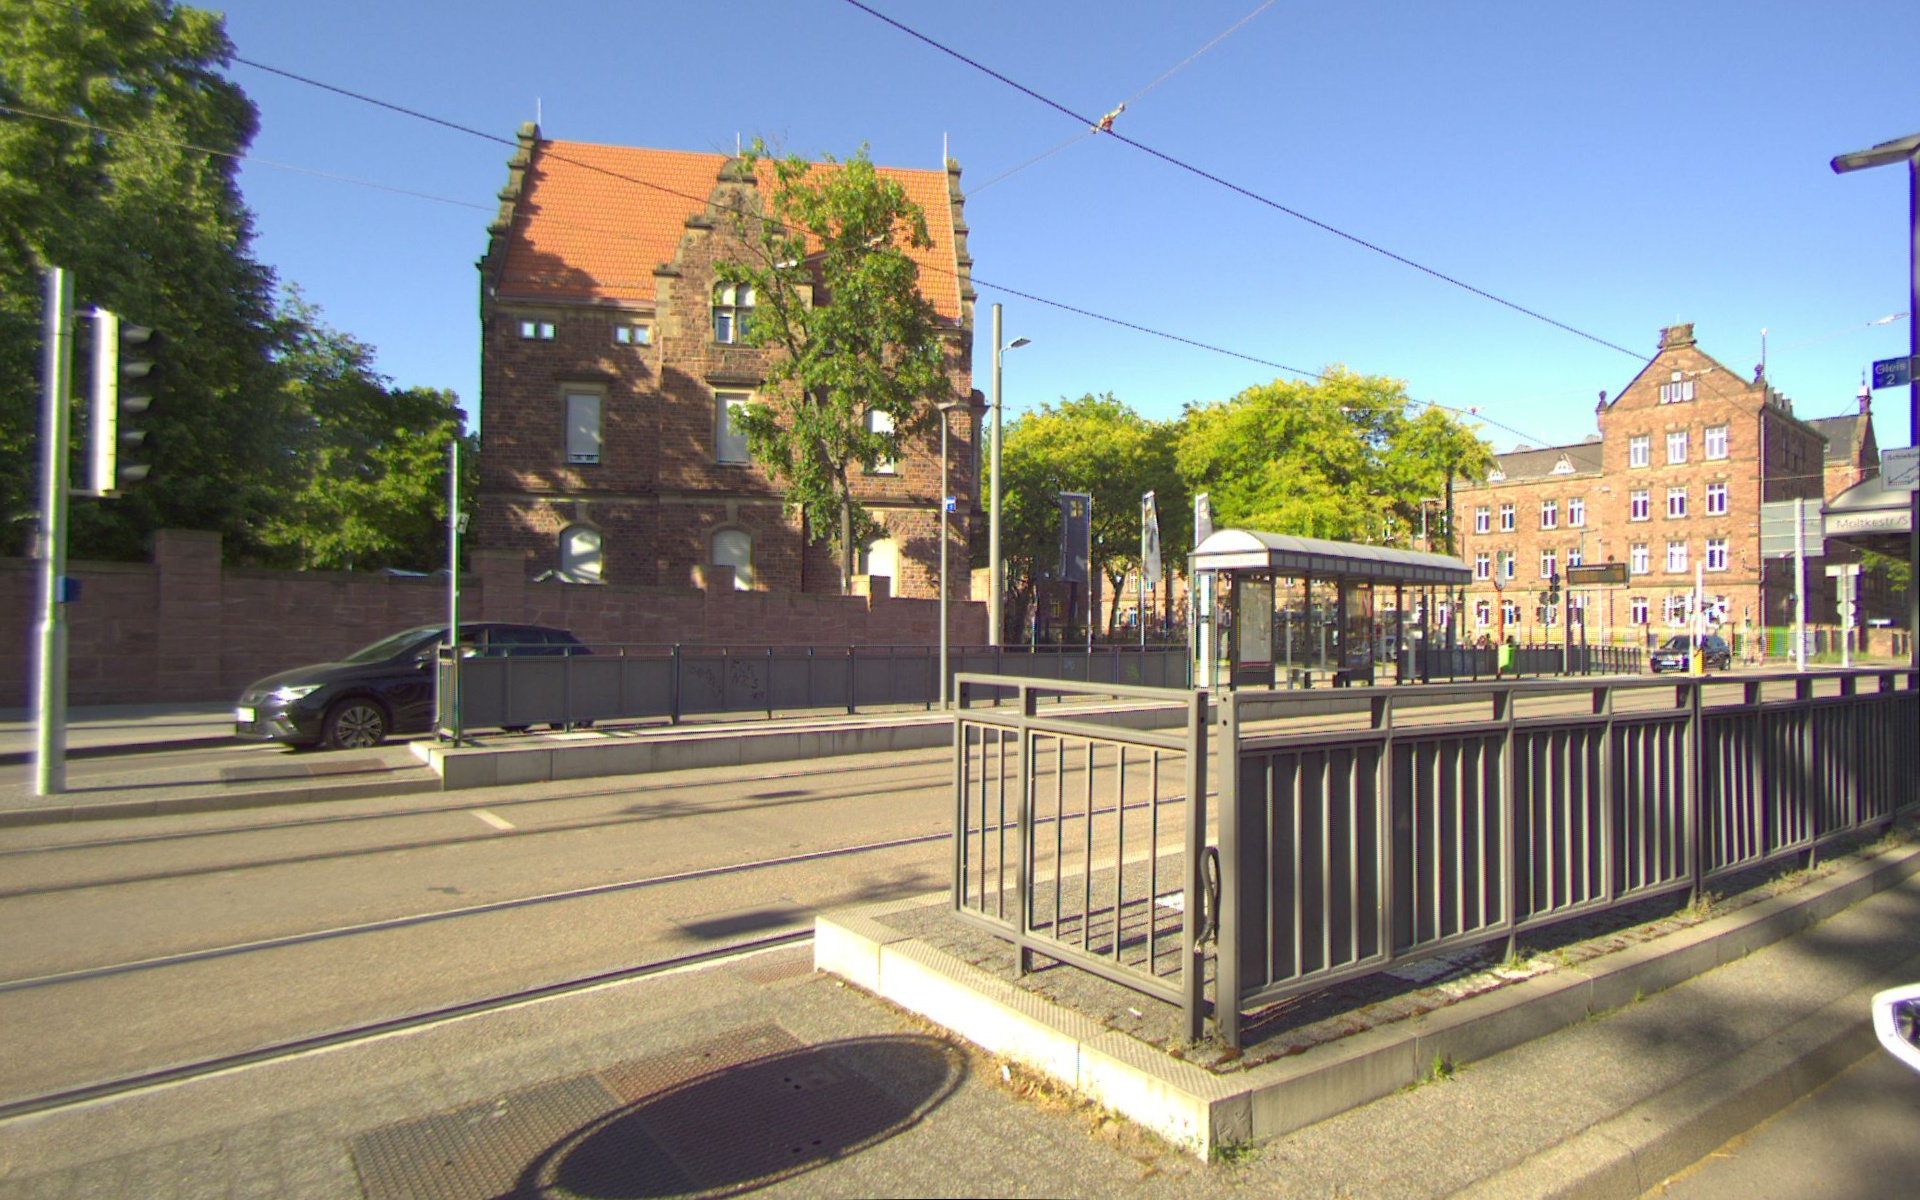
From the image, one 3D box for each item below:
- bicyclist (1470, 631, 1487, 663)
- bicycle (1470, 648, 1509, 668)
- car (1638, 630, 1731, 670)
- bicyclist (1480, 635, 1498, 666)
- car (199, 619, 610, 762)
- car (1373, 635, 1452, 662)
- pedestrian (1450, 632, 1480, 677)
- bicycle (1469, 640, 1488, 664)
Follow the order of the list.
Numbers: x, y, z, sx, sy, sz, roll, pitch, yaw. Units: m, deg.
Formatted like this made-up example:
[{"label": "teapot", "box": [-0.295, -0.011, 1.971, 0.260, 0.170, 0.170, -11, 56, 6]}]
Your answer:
[{"label": "bicyclist", "box": [23.425, 2.124, 45.386, 0.678, 1.402, 0.534, 1, -1, 26]}, {"label": "bicycle", "box": [29.125, 3.190, 55.238, 0.794, 1.027, 1.721, 2, -2, -38]}, {"label": "car", "box": [32.226, 2.195, 44.653, 4.309, 1.699, 1.897, 2, -2, -32]}, {"label": "bicyclist", "box": [29.105, 2.765, 55.286, 0.794, 1.657, 0.629, 2, -2, -39]}, {"label": "car", "box": [-6.506, 1.012, 12.077, 1.835, 1.421, 3.961, -4, -5, 42]}, {"label": "car", "box": [27.580, 2.941, 61.302, 1.859, 1.542, 4.036, 2, -2, -36]}, {"label": "pedestrian", "box": [21.556, 2.310, 42.901, 1.086, 1.885, 0.721, 2, -2, -36]}, {"label": "bicycle", "box": [23.385, 2.325, 45.306, 0.680, 1.063, 1.668, 1, -2, 25]}]
